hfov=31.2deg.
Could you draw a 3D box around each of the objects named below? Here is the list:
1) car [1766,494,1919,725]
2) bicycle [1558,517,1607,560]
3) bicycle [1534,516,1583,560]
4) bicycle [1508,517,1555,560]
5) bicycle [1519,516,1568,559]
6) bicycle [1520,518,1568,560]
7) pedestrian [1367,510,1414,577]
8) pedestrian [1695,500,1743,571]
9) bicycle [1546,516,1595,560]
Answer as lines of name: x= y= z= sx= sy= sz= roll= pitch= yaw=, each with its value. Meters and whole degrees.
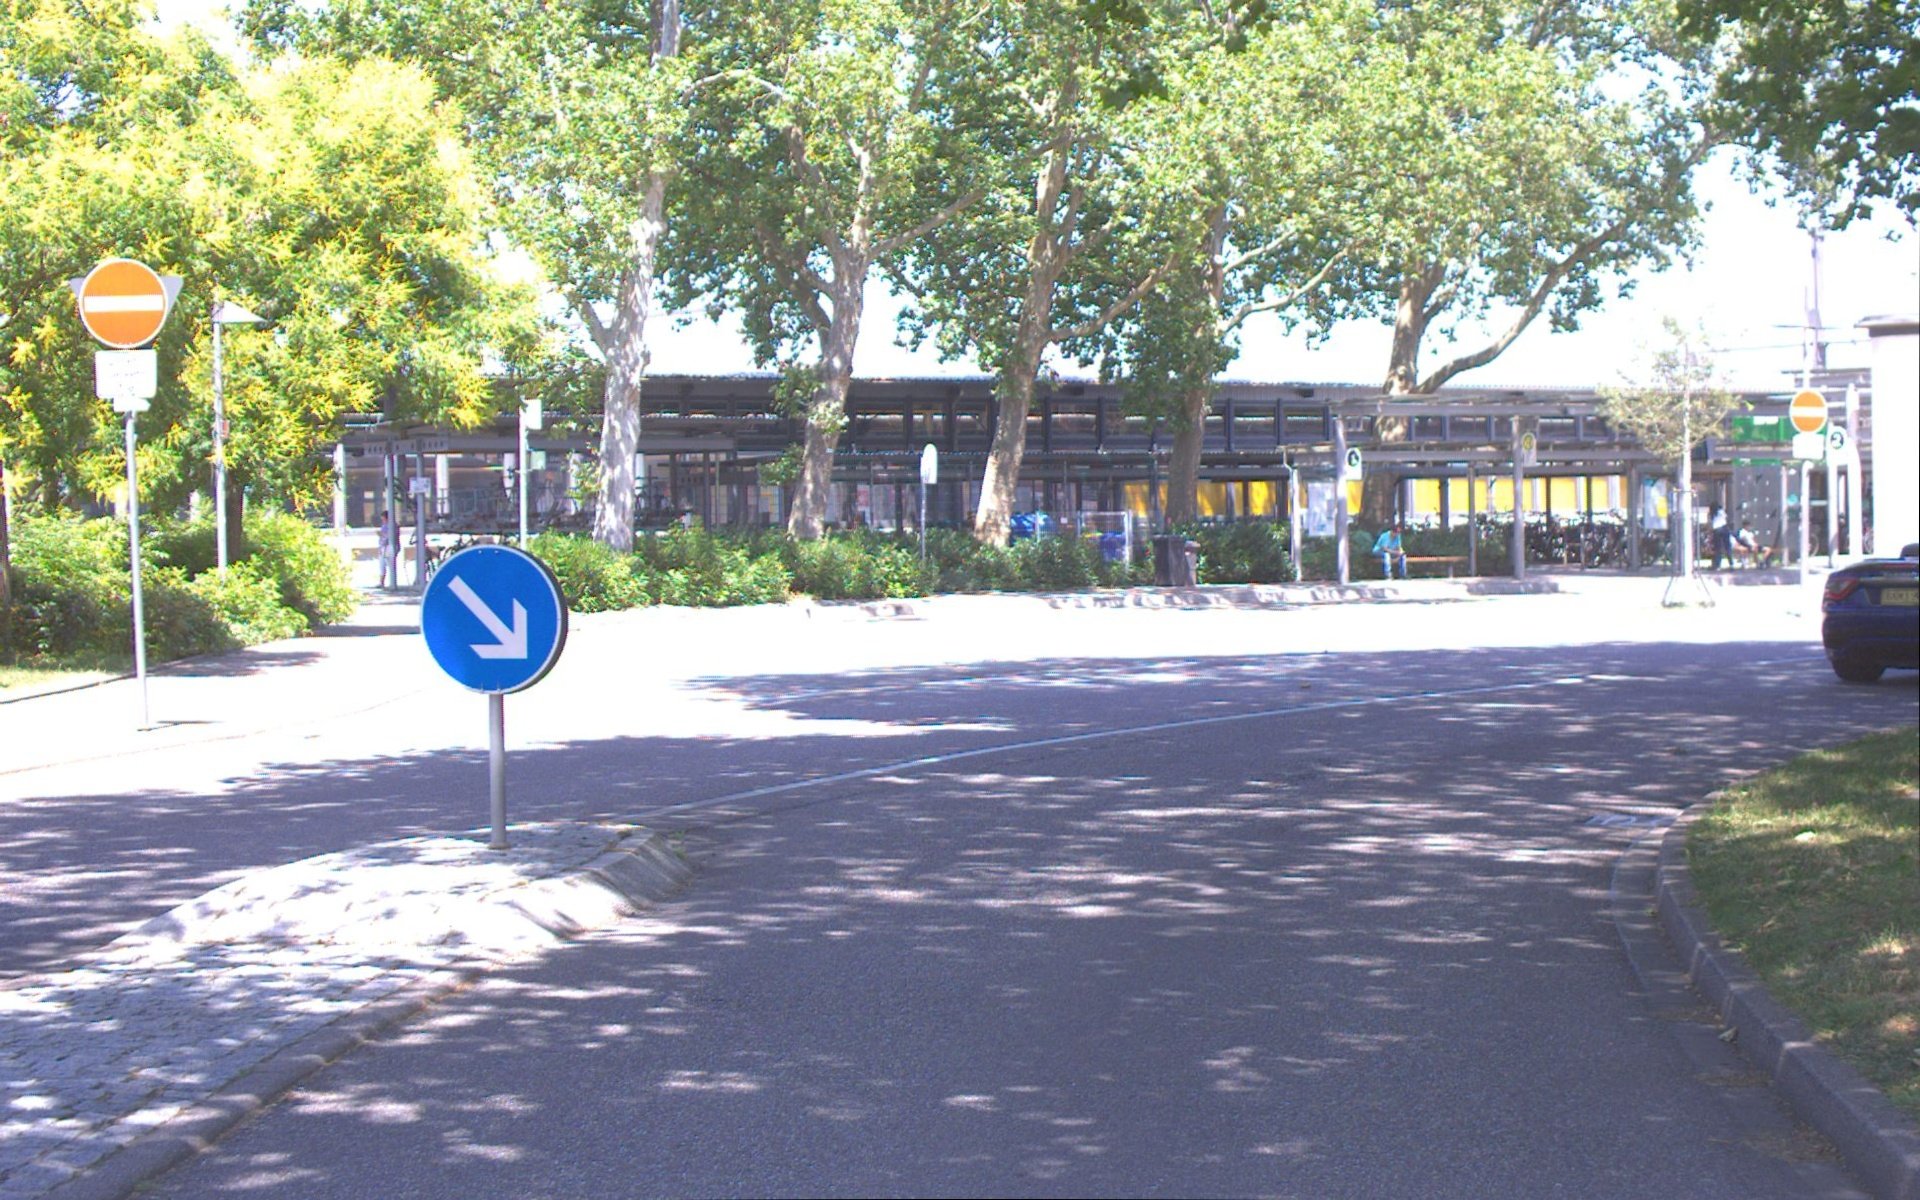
car: x=8.730 y=0.024 z=29.210 sx=2.130 sy=1.842 sz=4.039 roll=1 pitch=2 yaw=39
bicycle: x=15.940 y=-1.576 z=88.090 sx=0.385 sy=1.090 sz=1.385 roll=0 pitch=0 yaw=-32
bicycle: x=15.249 y=-1.581 z=87.650 sx=0.385 sy=1.090 sz=1.385 roll=1 pitch=0 yaw=-34
bicycle: x=14.808 y=-1.586 z=89.089 sx=0.385 sy=1.090 sz=1.385 roll=0 pitch=0 yaw=-32
bicycle: x=14.836 y=-1.583 z=87.428 sx=0.385 sy=1.090 sz=1.385 roll=1 pitch=0 yaw=-33
bicycle: x=15.168 y=-1.583 z=89.318 sx=0.385 sy=1.090 sz=1.385 roll=0 pitch=0 yaw=-32
pedestrian: x=9.352 y=-1.230 z=74.693 sx=0.819 sy=1.458 sz=0.607 roll=-1 pitch=1 yaw=-37
pedestrian: x=17.661 y=-1.503 z=80.037 sx=0.821 sy=1.611 sz=0.767 roll=0 pitch=3 yaw=37
bicycle: x=15.600 y=-1.578 z=87.853 sx=0.385 sy=1.090 sz=1.385 roll=0 pitch=0 yaw=-32
